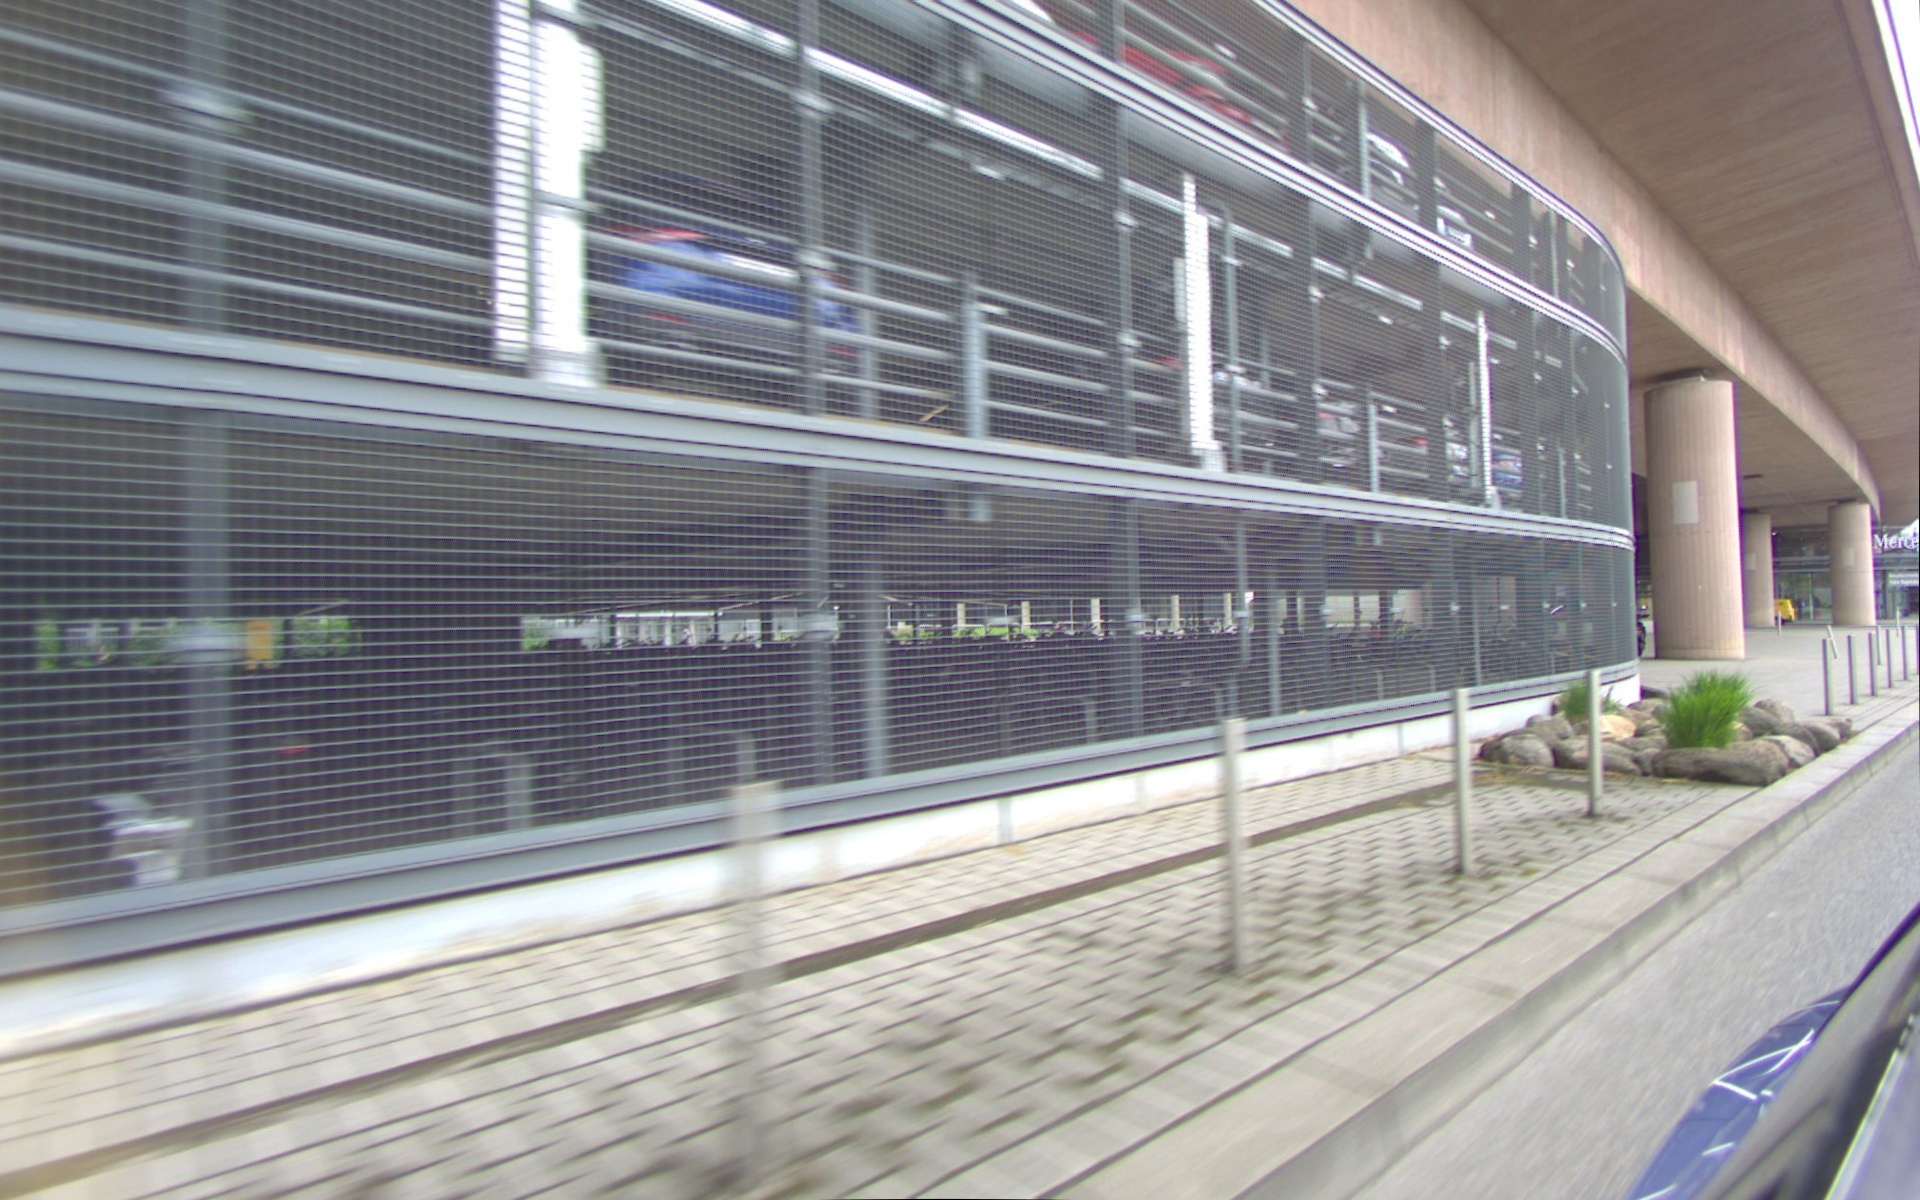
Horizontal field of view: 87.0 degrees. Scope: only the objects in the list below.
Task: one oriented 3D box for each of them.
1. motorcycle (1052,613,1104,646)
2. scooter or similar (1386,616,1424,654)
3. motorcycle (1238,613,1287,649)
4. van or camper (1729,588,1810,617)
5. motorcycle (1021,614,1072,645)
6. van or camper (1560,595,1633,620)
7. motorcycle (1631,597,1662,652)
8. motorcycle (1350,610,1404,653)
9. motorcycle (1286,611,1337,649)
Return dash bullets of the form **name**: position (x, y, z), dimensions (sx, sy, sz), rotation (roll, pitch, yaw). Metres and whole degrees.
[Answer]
- **motorcycle**: position (4.742, 1.160, 40.626), dimensions (2.321, 1.292, 0.673), rotation (1, -2, -40)
- **scooter or similar**: position (13.686, 1.067, 31.136), dimensions (1.226, 1.148, 0.400), rotation (1, -2, -30)
- **motorcycle**: position (10.717, 1.082, 35.835), dimensions (2.042, 1.236, 0.673), rotation (1, -2, -40)
- **van or camper**: position (60.247, 0.213, 75.384), dimensions (4.489, 2.025, 2.325), rotation (-2, -1, 44)
- **motorcycle**: position (3.578, 1.217, 41.761), dimensions (2.321, 1.236, 0.673), rotation (1, -2, -40)
- **van or camper**: position (51.251, 0.641, 81.553), dimensions (4.869, 1.917, 2.126), rotation (-1, -2, 36)
- **motorcycle**: position (19.026, 0.673, 28.060), dimensions (0.639, 1.474, 1.741), rotation (-1, -2, 33)
- **motorcycle**: position (13.250, 0.989, 32.163), dimensions (2.091, 1.319, 0.607), rotation (0, -1, -38)
- **motorcycle**: position (11.850, 1.006, 34.108), dimensions (2.042, 1.236, 0.673), rotation (1, -2, -40)
